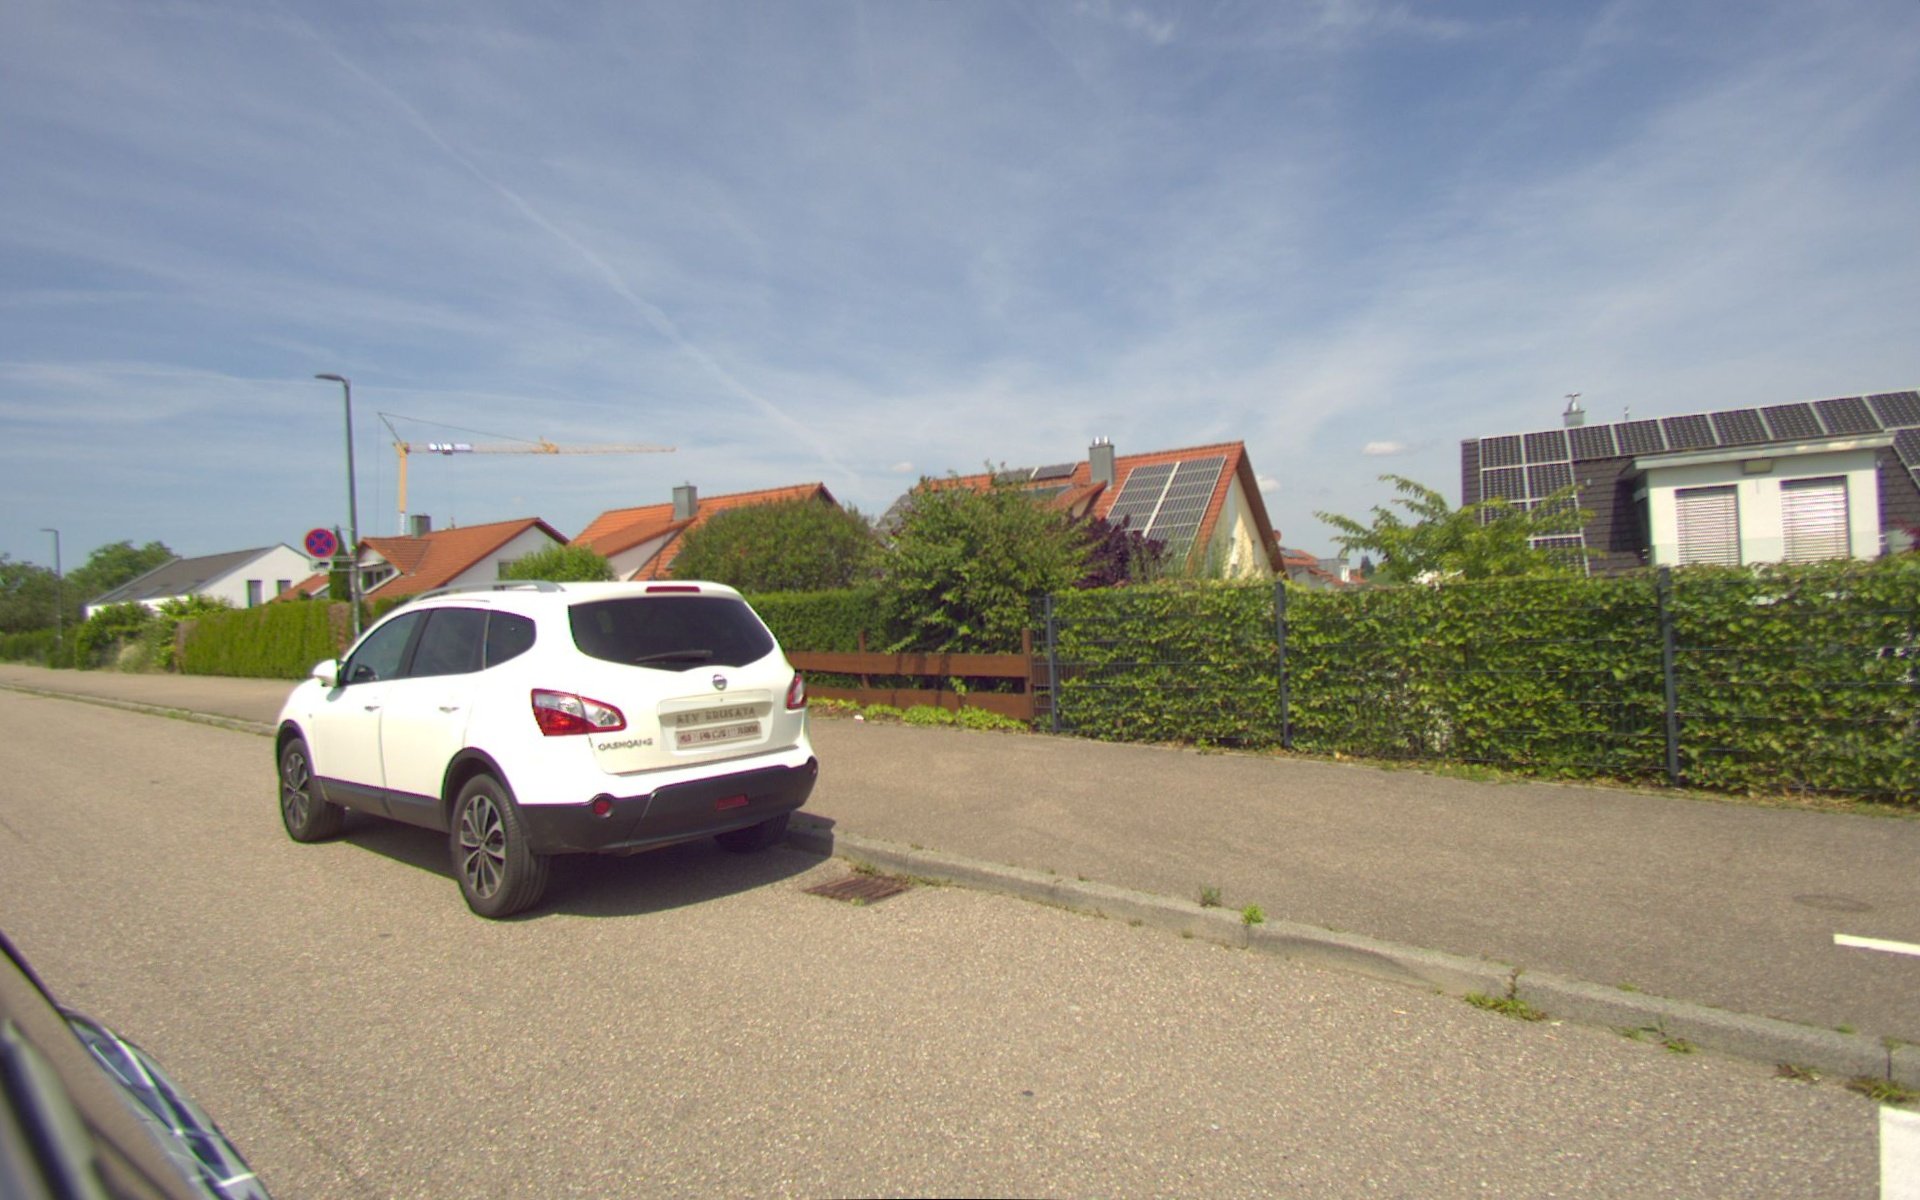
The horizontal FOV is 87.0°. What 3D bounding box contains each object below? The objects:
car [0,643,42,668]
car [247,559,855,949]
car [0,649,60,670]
[{"bbox_3d":[-75.868,4.499,80.739,3.832,1.826,1.802,-3,0,-45],"label":"car"},{"bbox_3d":[-2.798,0.694,6.355,4.349,1.645,1.716,-2,-1,40],"label":"car"},{"bbox_3d":[-69.507,4.450,75.228,3.832,1.331,1.802,-3,-1,-45],"label":"car"}]
